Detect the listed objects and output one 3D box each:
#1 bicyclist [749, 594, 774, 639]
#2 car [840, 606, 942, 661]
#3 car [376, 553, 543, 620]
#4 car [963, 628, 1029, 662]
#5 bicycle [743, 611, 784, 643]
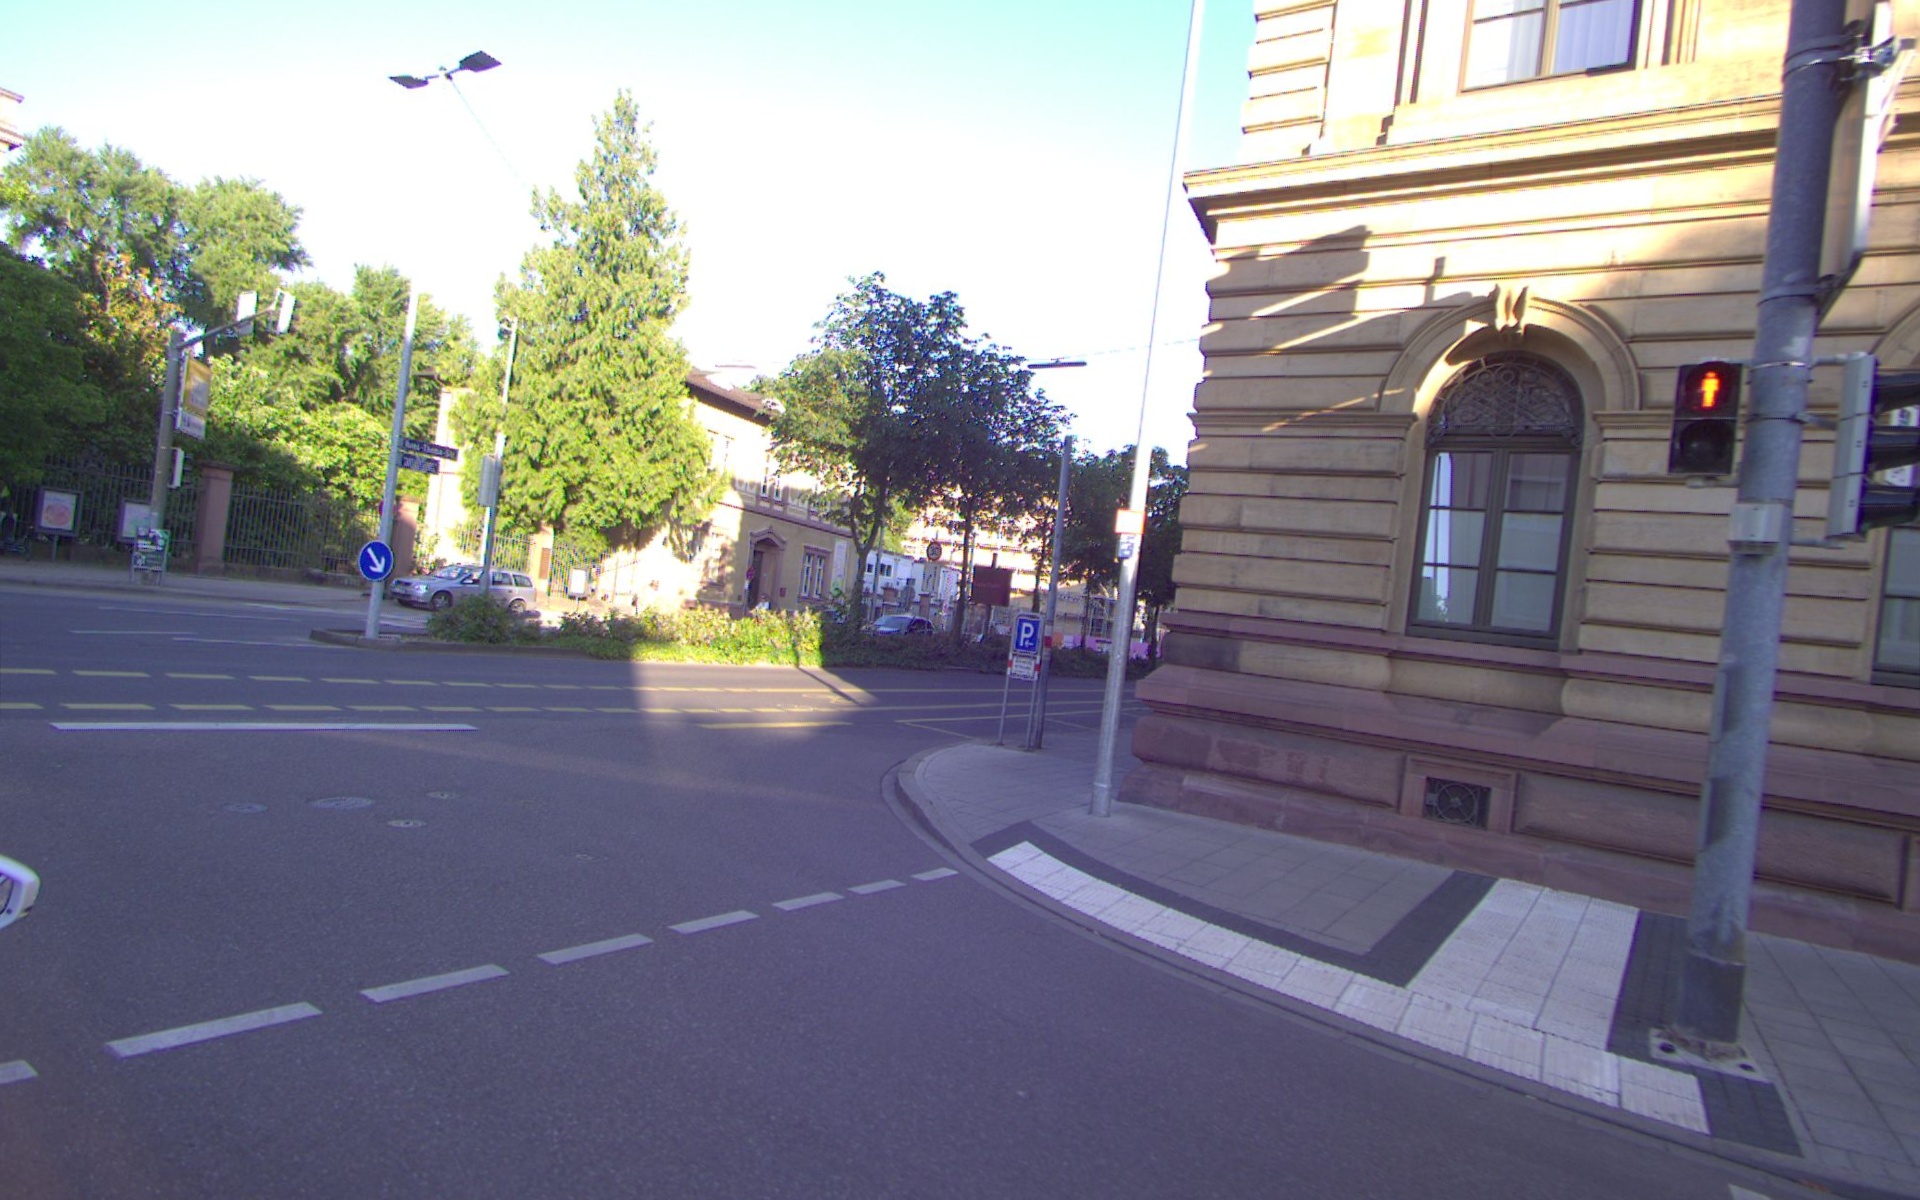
[{"bbox_3d":[-7.650,0.636,38.808,0.656,1.663,0.519,5,-1,33],"label":"bicyclist"},{"bbox_3d":[-2.418,1.247,36.300,1.802,1.631,4.076,6,-2,25],"label":"car"},{"bbox_3d":[-14.853,-0.341,30.125,1.685,1.462,4.196,7,-2,27],"label":"car"},{"bbox_3d":[1.886,2.319,51.304,1.802,1.407,4.021,6,-2,25],"label":"car"},{"bbox_3d":[-7.607,1.070,39.013,0.488,1.114,1.664,5,-2,33],"label":"bicycle"}]
